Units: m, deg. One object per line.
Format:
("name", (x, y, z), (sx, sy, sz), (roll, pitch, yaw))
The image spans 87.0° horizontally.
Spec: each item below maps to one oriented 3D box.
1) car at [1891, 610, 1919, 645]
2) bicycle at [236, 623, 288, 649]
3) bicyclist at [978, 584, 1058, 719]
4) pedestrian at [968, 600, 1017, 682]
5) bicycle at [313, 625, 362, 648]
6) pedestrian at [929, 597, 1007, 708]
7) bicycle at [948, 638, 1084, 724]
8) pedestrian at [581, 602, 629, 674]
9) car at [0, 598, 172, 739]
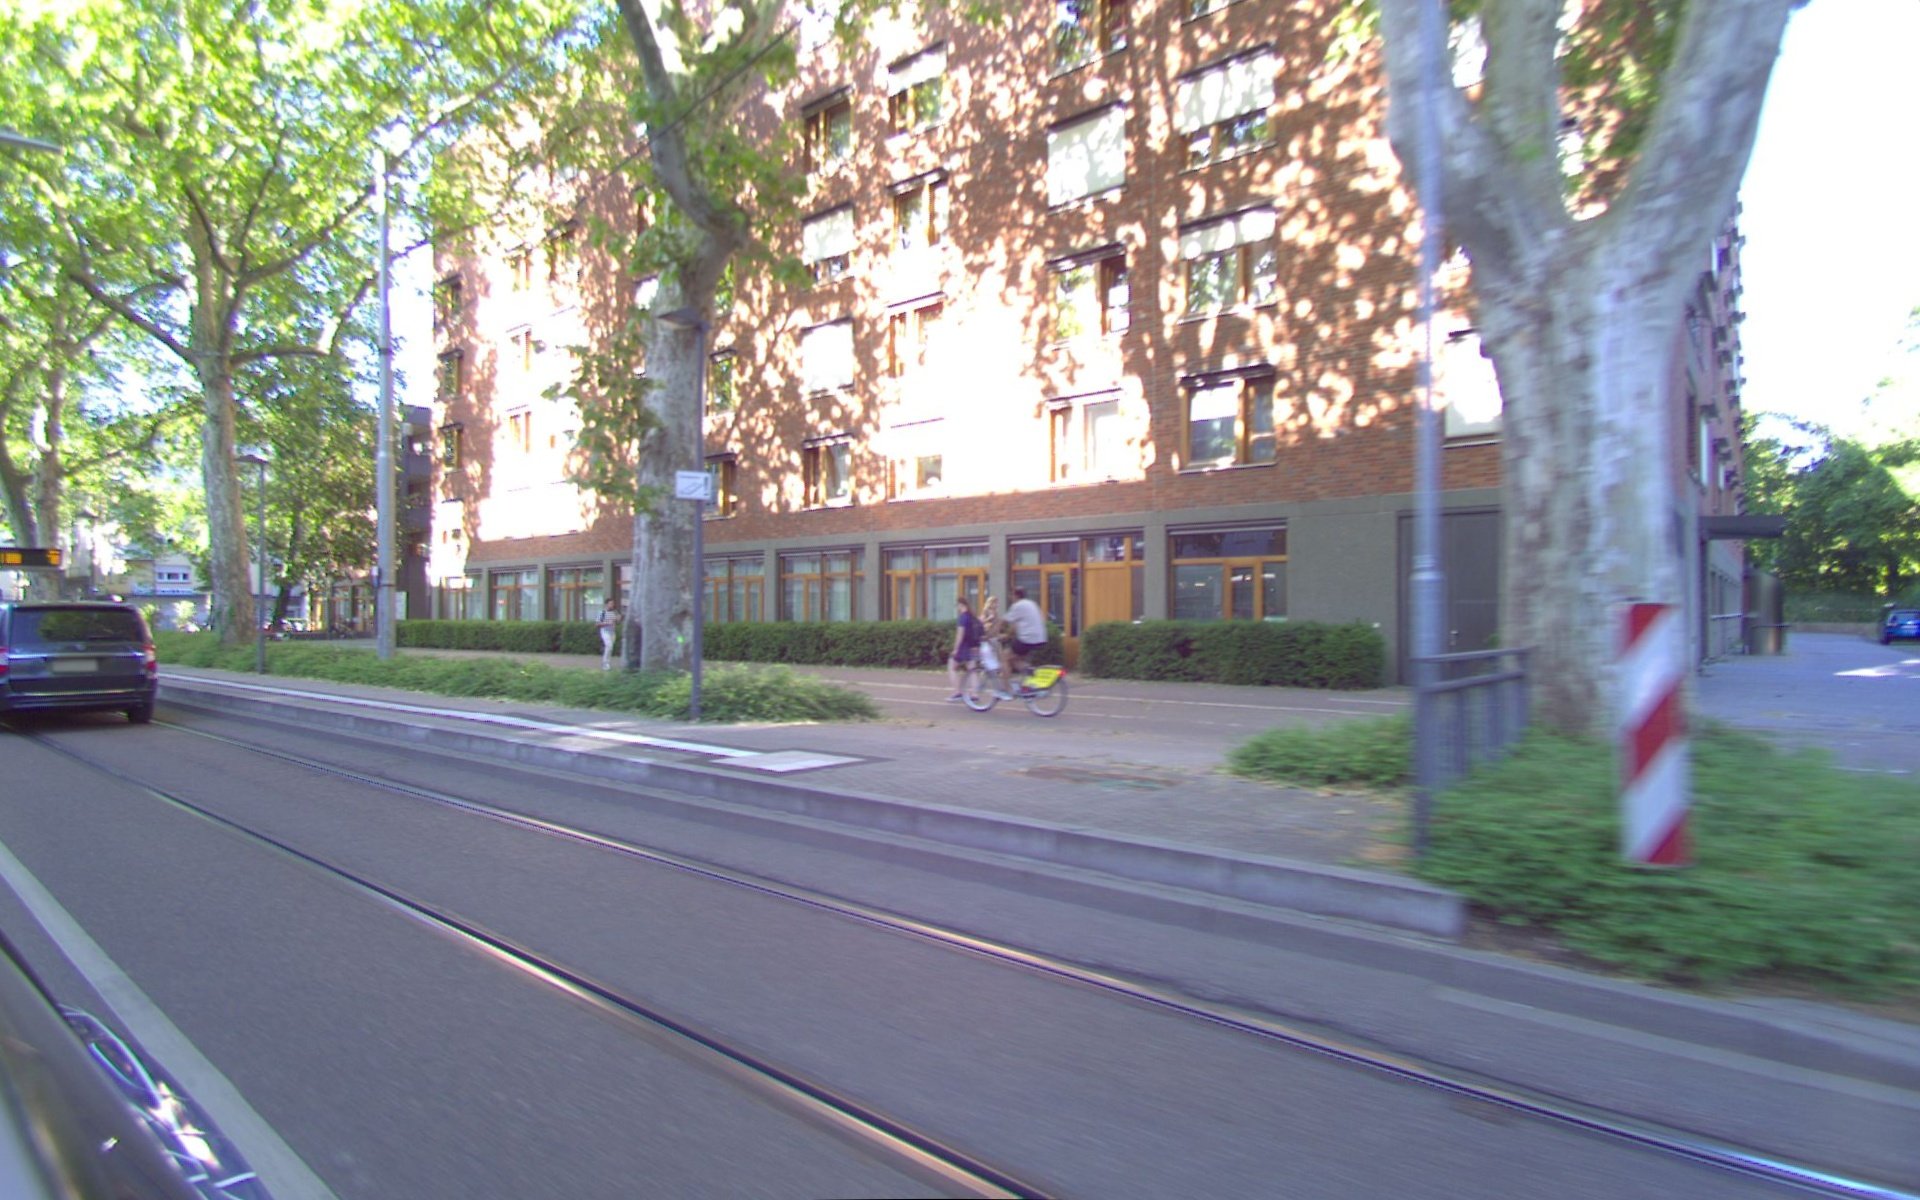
("car", (42.542, 1.203, 44.994), (1.557, 1.435, 3.589), (-1, 0, 41))
("bicycle", (-34.435, 1.754, 49.958), (2.067, 1.198, 0.883), (-1, 0, -34))
("bicyclist", (0.802, 0.688, 14.001), (0.838, 1.801, 0.692), (-1, 0, 42))
("pedestrian", (0.643, 0.793, 20.107), (0.715, 1.585, 0.657), (-1, 0, 40))
("bicycle", (-32.184, 1.890, 52.332), (2.011, 1.102, 0.821), (-1, 0, 3))
("pedestrian", (0.126, 0.800, 15.902), (0.968, 1.685, 0.730), (-1, 0, 42))
("bicycle", (0.758, 1.087, 14.039), (1.839, 1.071, 0.707), (-1, 0, 42))
("pedestrian", (-8.919, 0.929, 25.422), (0.971, 1.757, 0.756), (-1, 0, 40))
("car", (-13.437, 0.881, 14.819), (5.139, 1.729, 1.973), (-1, 0, 40))
